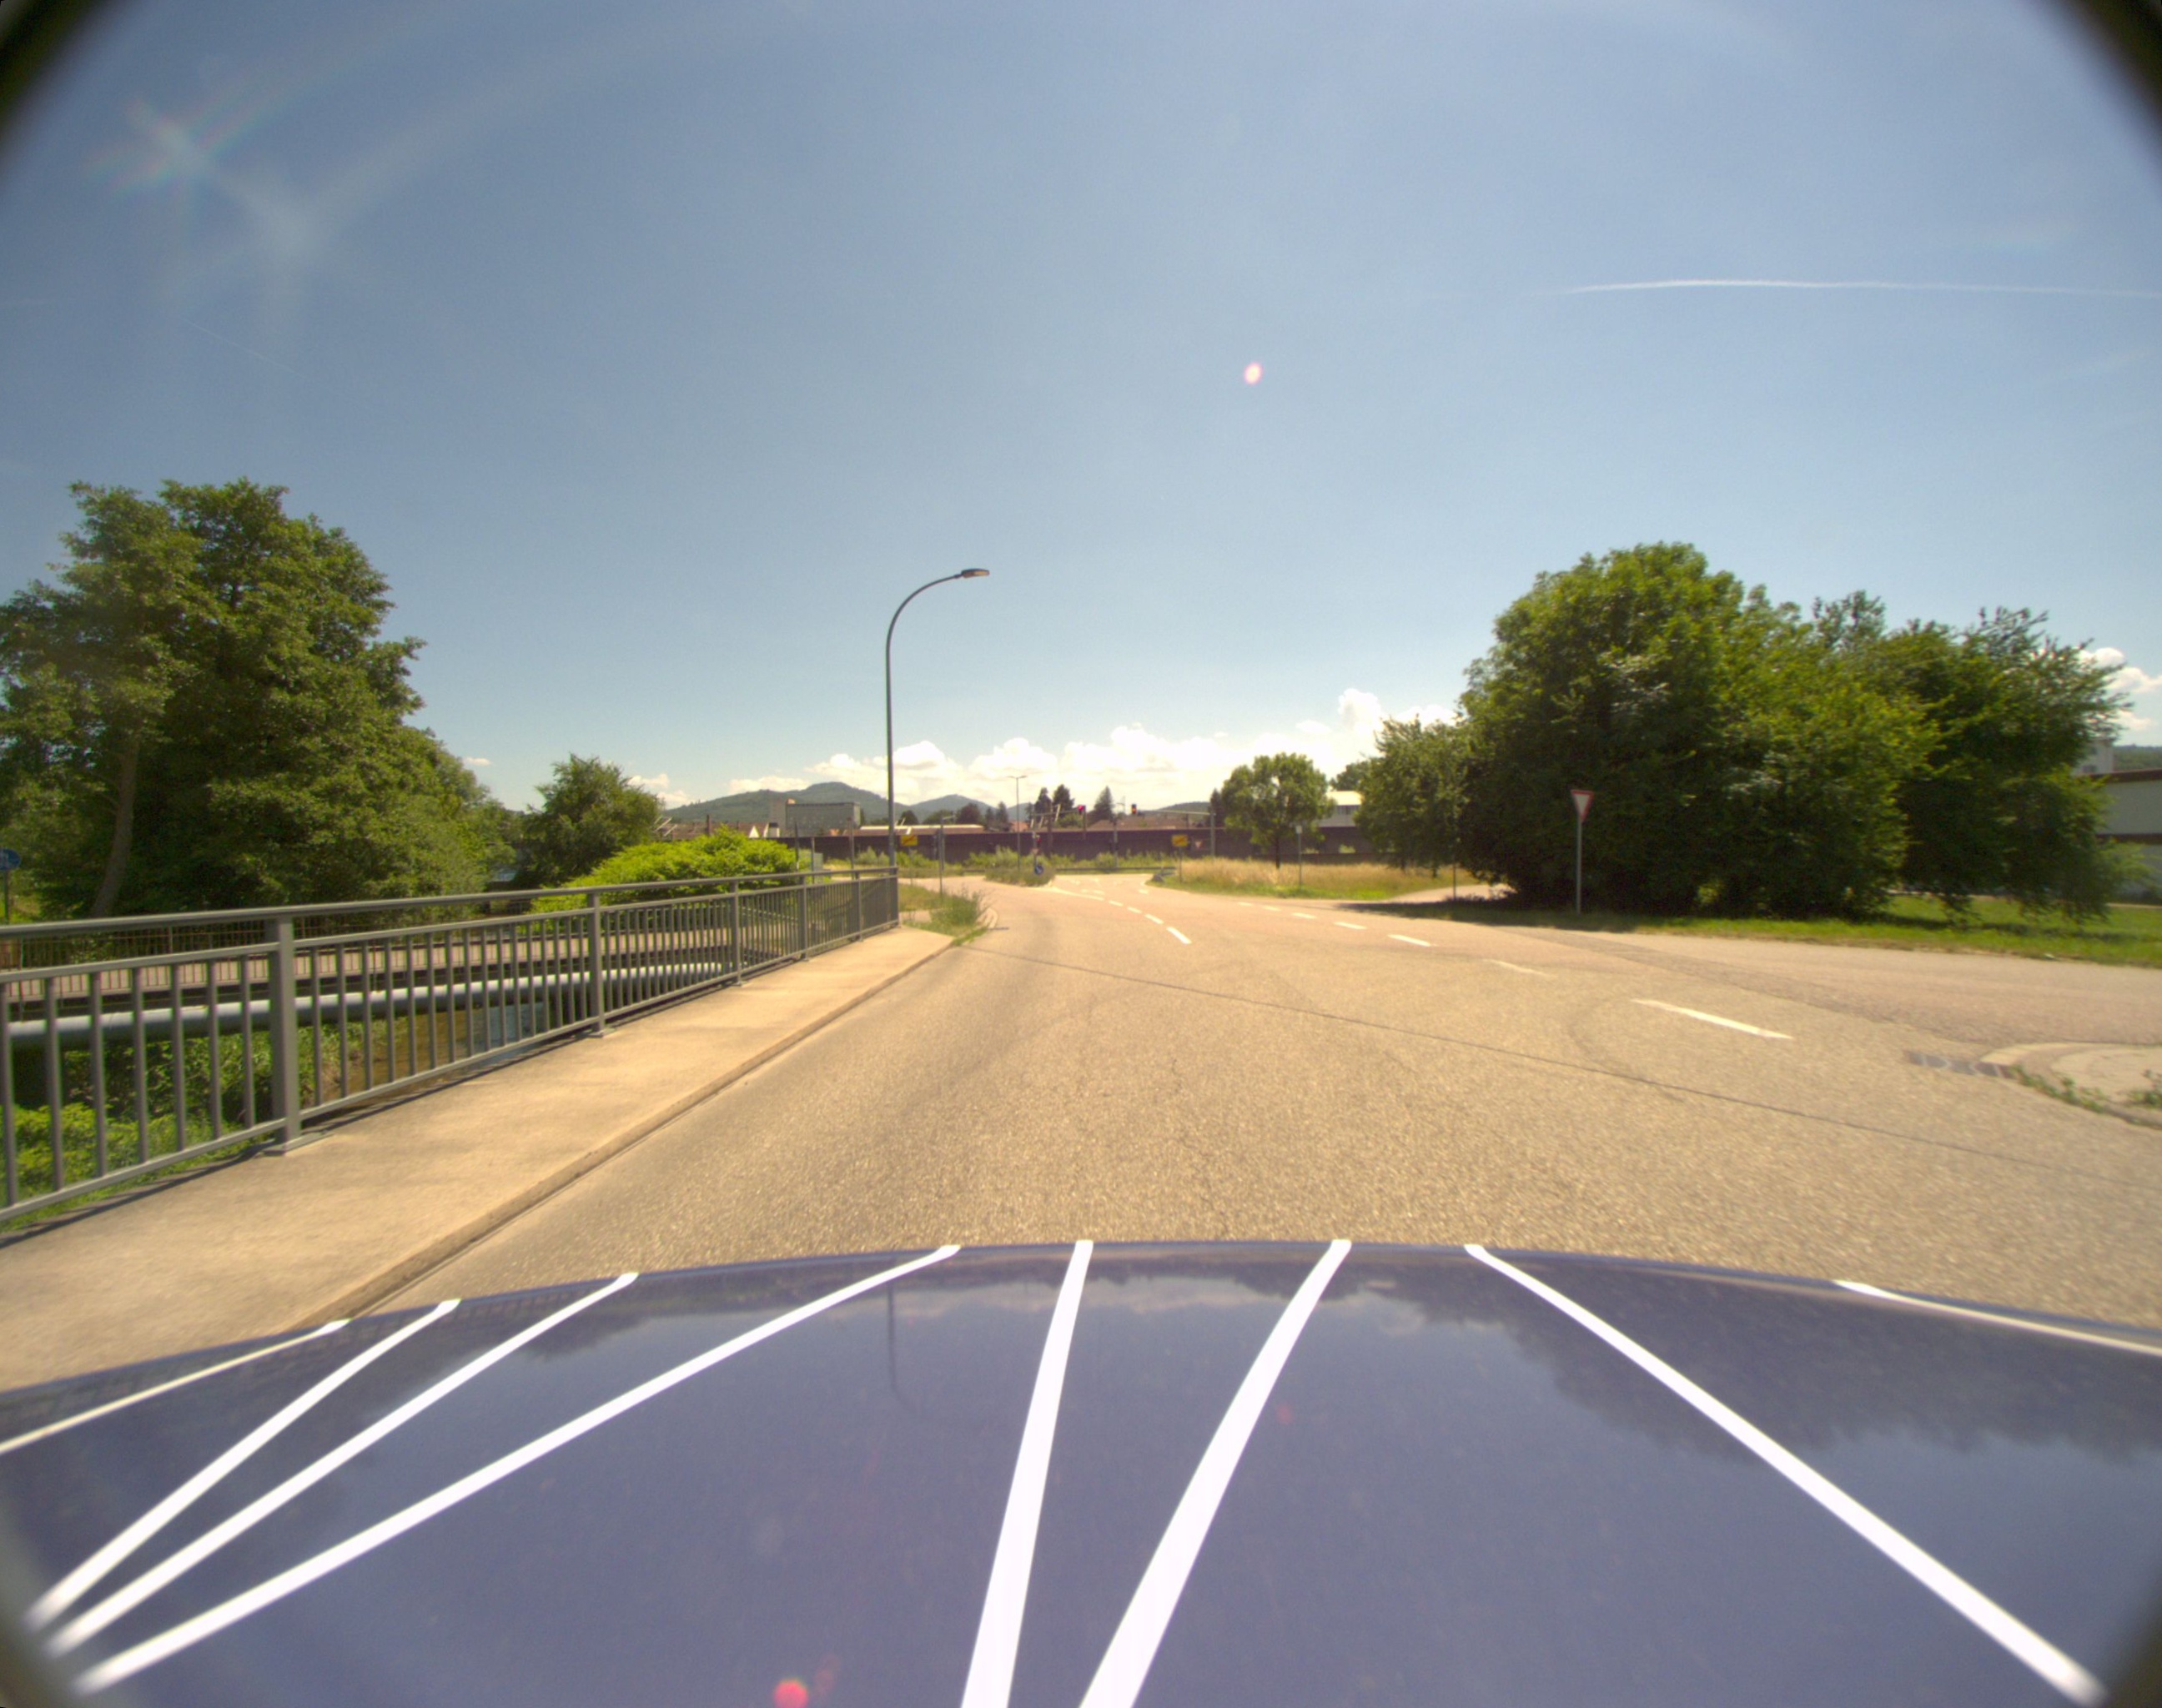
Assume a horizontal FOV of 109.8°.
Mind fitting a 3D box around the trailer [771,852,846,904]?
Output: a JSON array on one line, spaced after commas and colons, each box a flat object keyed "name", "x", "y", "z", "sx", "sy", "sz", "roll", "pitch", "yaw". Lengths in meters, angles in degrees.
[{"name": "trailer", "x": -11.903, "y": 0.990, "z": 33.084, "sx": 1.855, "sy": 2.066, "sz": 3.958, "roll": -2, "pitch": 1, "yaw": -38}]
